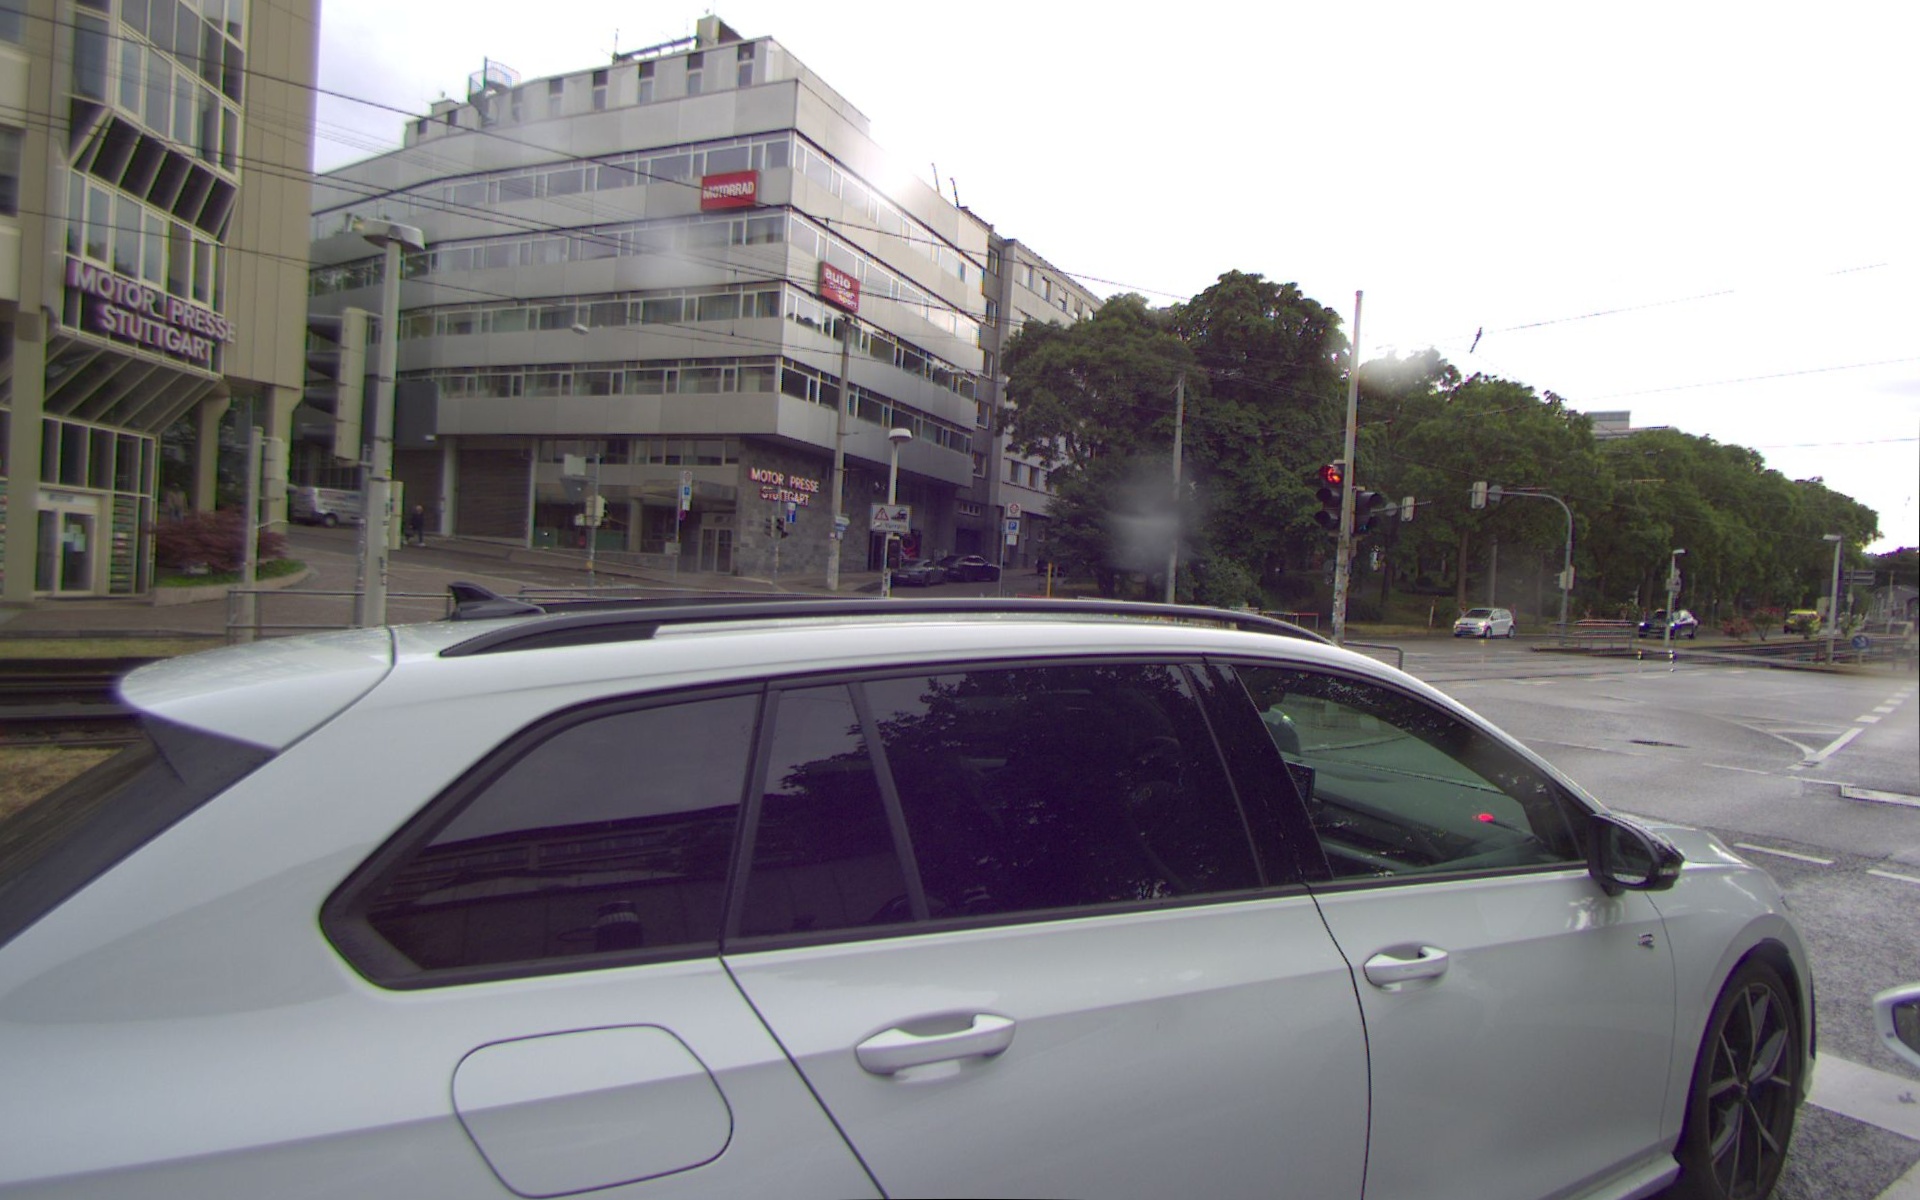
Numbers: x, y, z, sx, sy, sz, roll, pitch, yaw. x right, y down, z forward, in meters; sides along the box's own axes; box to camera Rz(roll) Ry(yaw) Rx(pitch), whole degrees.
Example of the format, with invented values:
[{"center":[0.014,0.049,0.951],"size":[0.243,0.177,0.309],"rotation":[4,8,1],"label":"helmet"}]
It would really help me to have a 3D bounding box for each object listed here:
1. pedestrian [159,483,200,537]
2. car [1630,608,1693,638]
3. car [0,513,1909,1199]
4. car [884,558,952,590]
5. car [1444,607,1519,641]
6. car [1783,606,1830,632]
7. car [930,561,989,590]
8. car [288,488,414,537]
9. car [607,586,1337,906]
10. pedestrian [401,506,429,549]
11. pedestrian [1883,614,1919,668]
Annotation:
[{"center":[-27.448,-3.153,35.333],"size":[0.746,1.811,0.830],"rotation":[5,2,25],"label":"pedestrian"},{"center":[40.185,1.312,57.513],"size":[3.648,1.566,1.905],"rotation":[2,1,-37],"label":"car"},{"center":[0.307,0.703,2.478],"size":[4.423,1.461,1.787],"rotation":[2,0,-30],"label":"car"},{"center":[-2.054,-1.294,50.615],"size":[1.842,1.450,4.091],"rotation":[3,2,22],"label":"car"},{"center":[26.068,1.213,50.192],"size":[3.648,1.566,1.905],"rotation":[2,1,-37],"label":"car"},{"center":[67.214,1.523,79.759],"size":[4.525,1.875,1.905],"rotation":[2,1,-38],"label":"car"},{"center":[0.036,-1.354,55.589],"size":[1.842,1.450,3.998],"rotation":[3,2,22],"label":"car"},{"center":[-32.027,-4.542,52.998],"size":[1.964,2.040,5.403],"rotation":[2,0,30],"label":"car"},{"center":[0.204,0.720,6.491],"size":[4.423,1.461,1.787],"rotation":[2,0,-30],"label":"car"},{"center":[-25.183,-3.351,46.393],"size":[0.833,1.886,0.719],"rotation":[5,2,25],"label":"pedestrian"},{"center":[33.402,1.434,35.524],"size":[0.863,1.826,0.860],"rotation":[1,2,-33],"label":"pedestrian"}]
